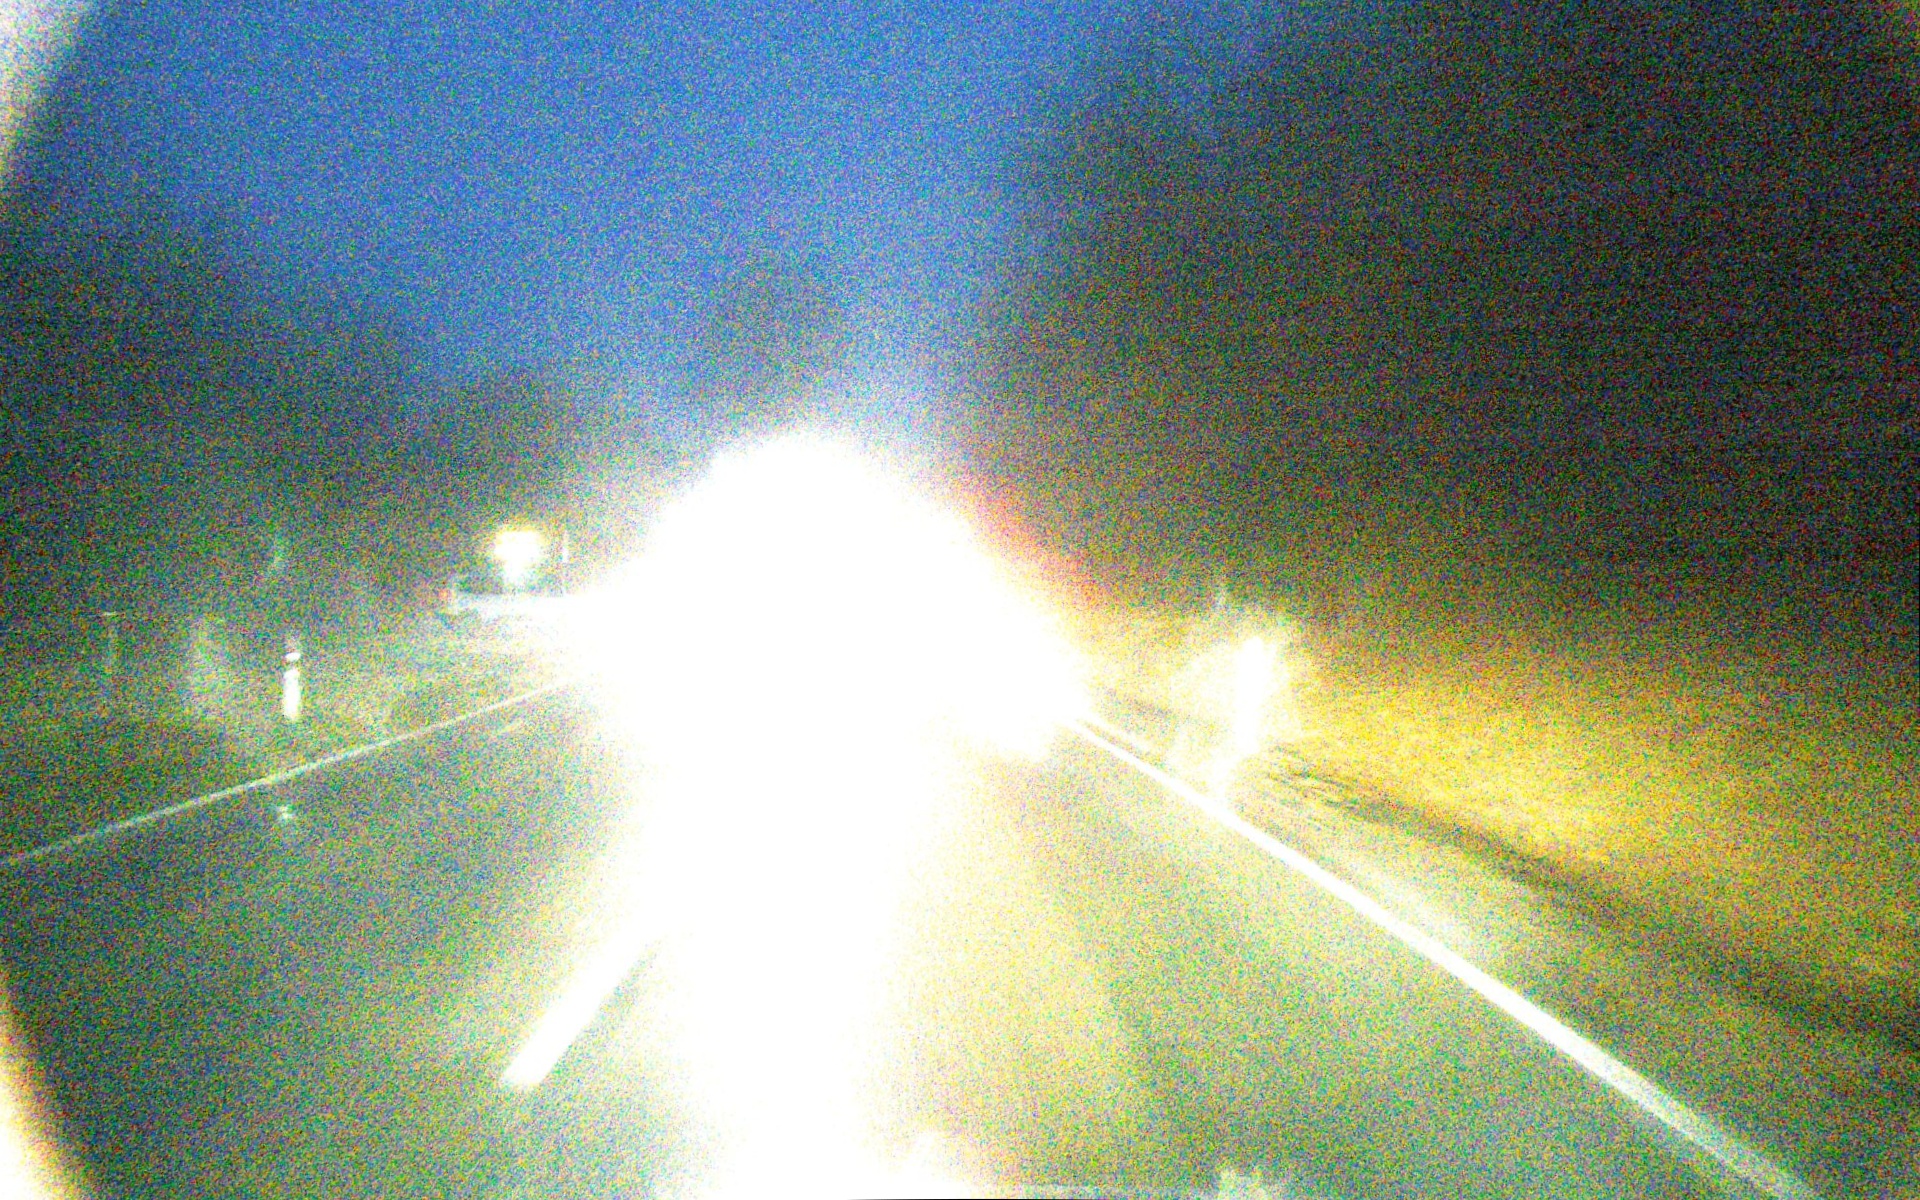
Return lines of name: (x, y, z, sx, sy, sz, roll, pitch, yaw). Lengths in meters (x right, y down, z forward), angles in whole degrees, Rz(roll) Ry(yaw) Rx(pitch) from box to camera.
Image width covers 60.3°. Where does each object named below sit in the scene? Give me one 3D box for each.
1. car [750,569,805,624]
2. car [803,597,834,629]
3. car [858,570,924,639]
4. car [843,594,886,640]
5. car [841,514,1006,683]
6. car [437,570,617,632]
car: (-6.356, -0.158, 57.844, 1.719, 1.764, 3.996, 3, 1, -5)
car: (-9.196, 0.848, 107.265, 1.855, 1.944, 3.791, 3, -1, -5)
car: (-2.333, 0.191, 54.740, 1.954, 2.049, 3.995, 3, -3, -4)
car: (-4.027, 0.760, 70.296, 1.706, 1.744, 3.697, 3, -2, -2)
car: (-0.754, -0.051, 27.766, 2.489, 2.541, 5.709, 0, 0, -4)
car: (-12.617, 0.016, 48.440, 4.817, 1.765, 1.997, 0, 0, -6)
